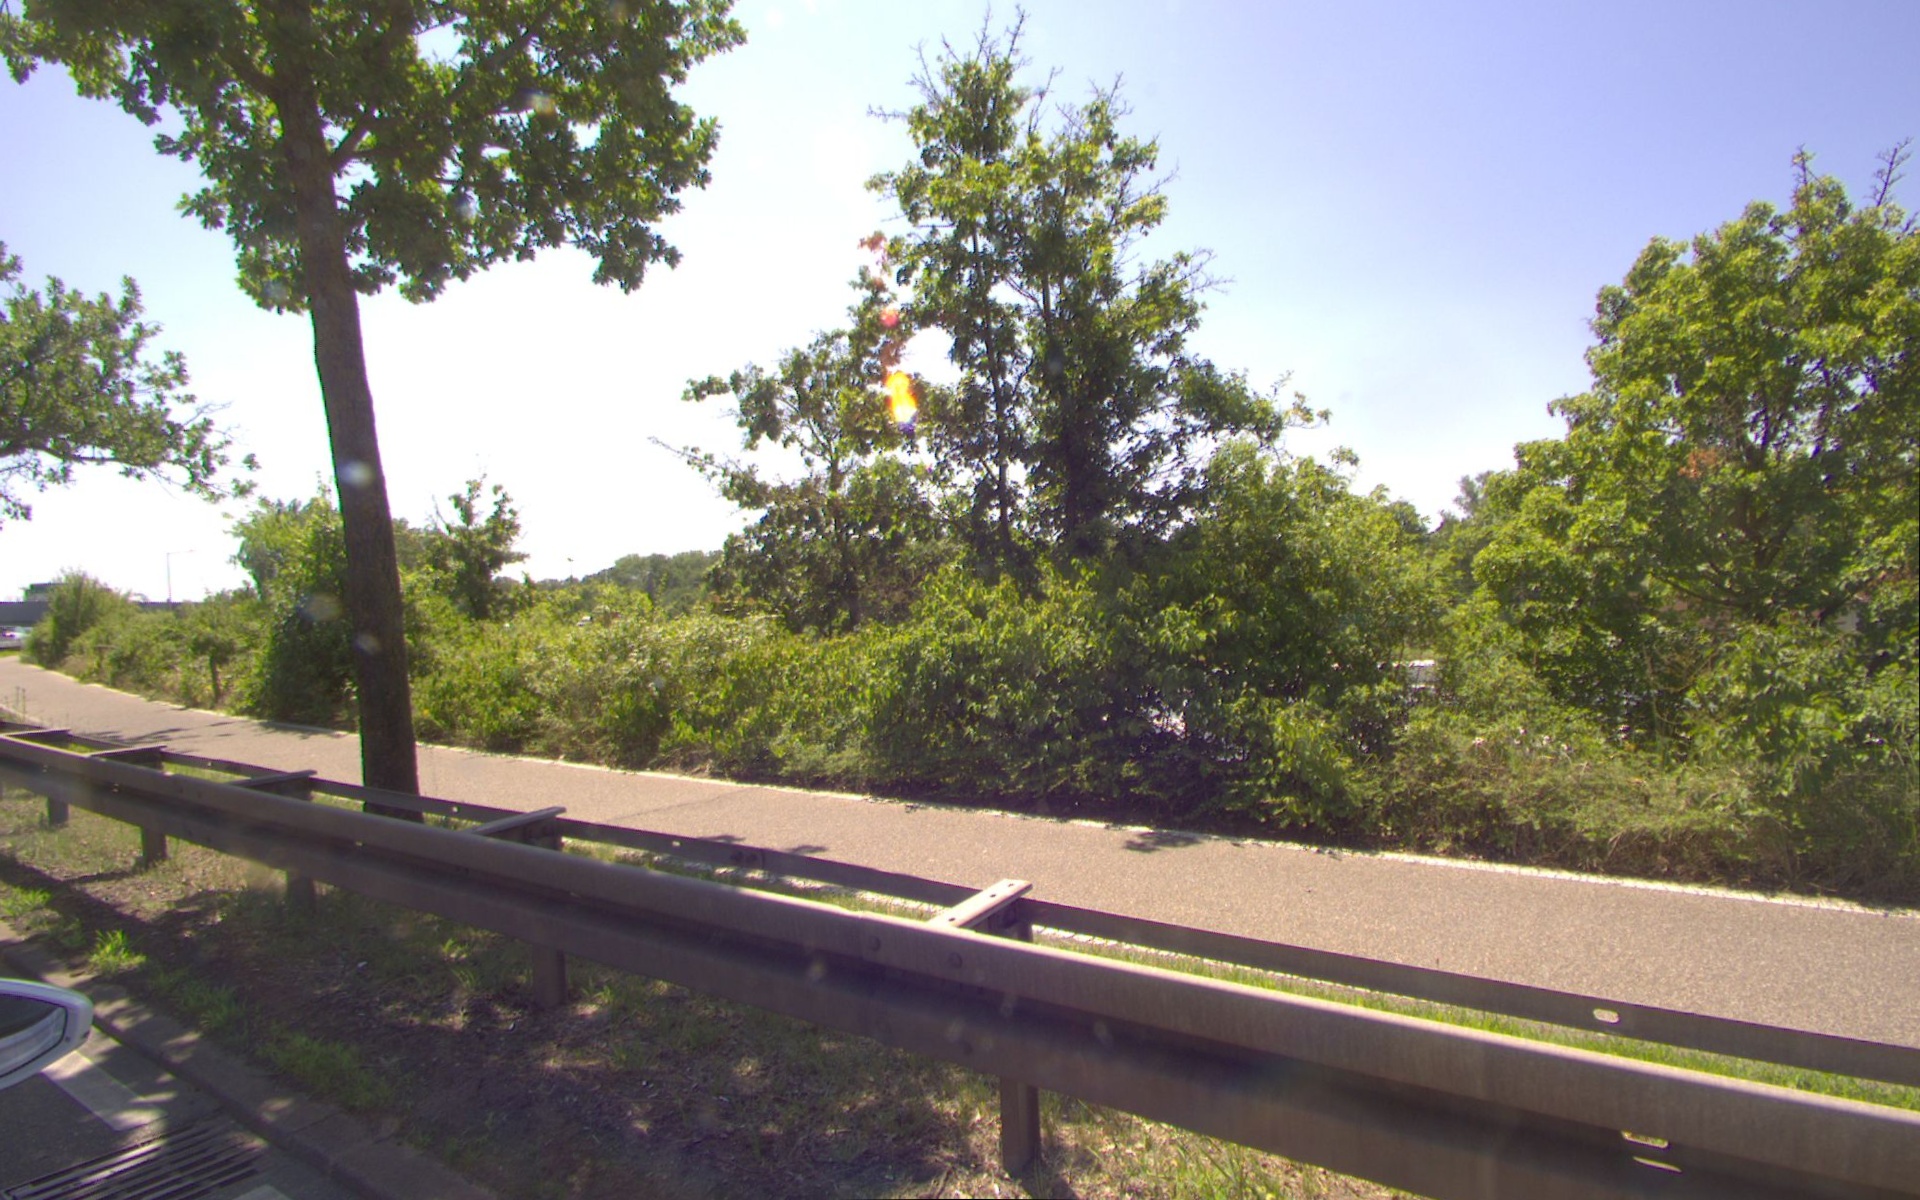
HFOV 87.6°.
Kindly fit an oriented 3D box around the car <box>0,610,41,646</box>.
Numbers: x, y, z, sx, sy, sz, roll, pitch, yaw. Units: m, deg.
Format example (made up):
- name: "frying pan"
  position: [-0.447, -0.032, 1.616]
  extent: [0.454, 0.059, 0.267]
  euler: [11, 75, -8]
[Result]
- name: "car"
  position: [-50.280, 1.462, 52.663]
  extent: [1.973, 1.831, 4.818]
  euler: [1, -2, -32]
